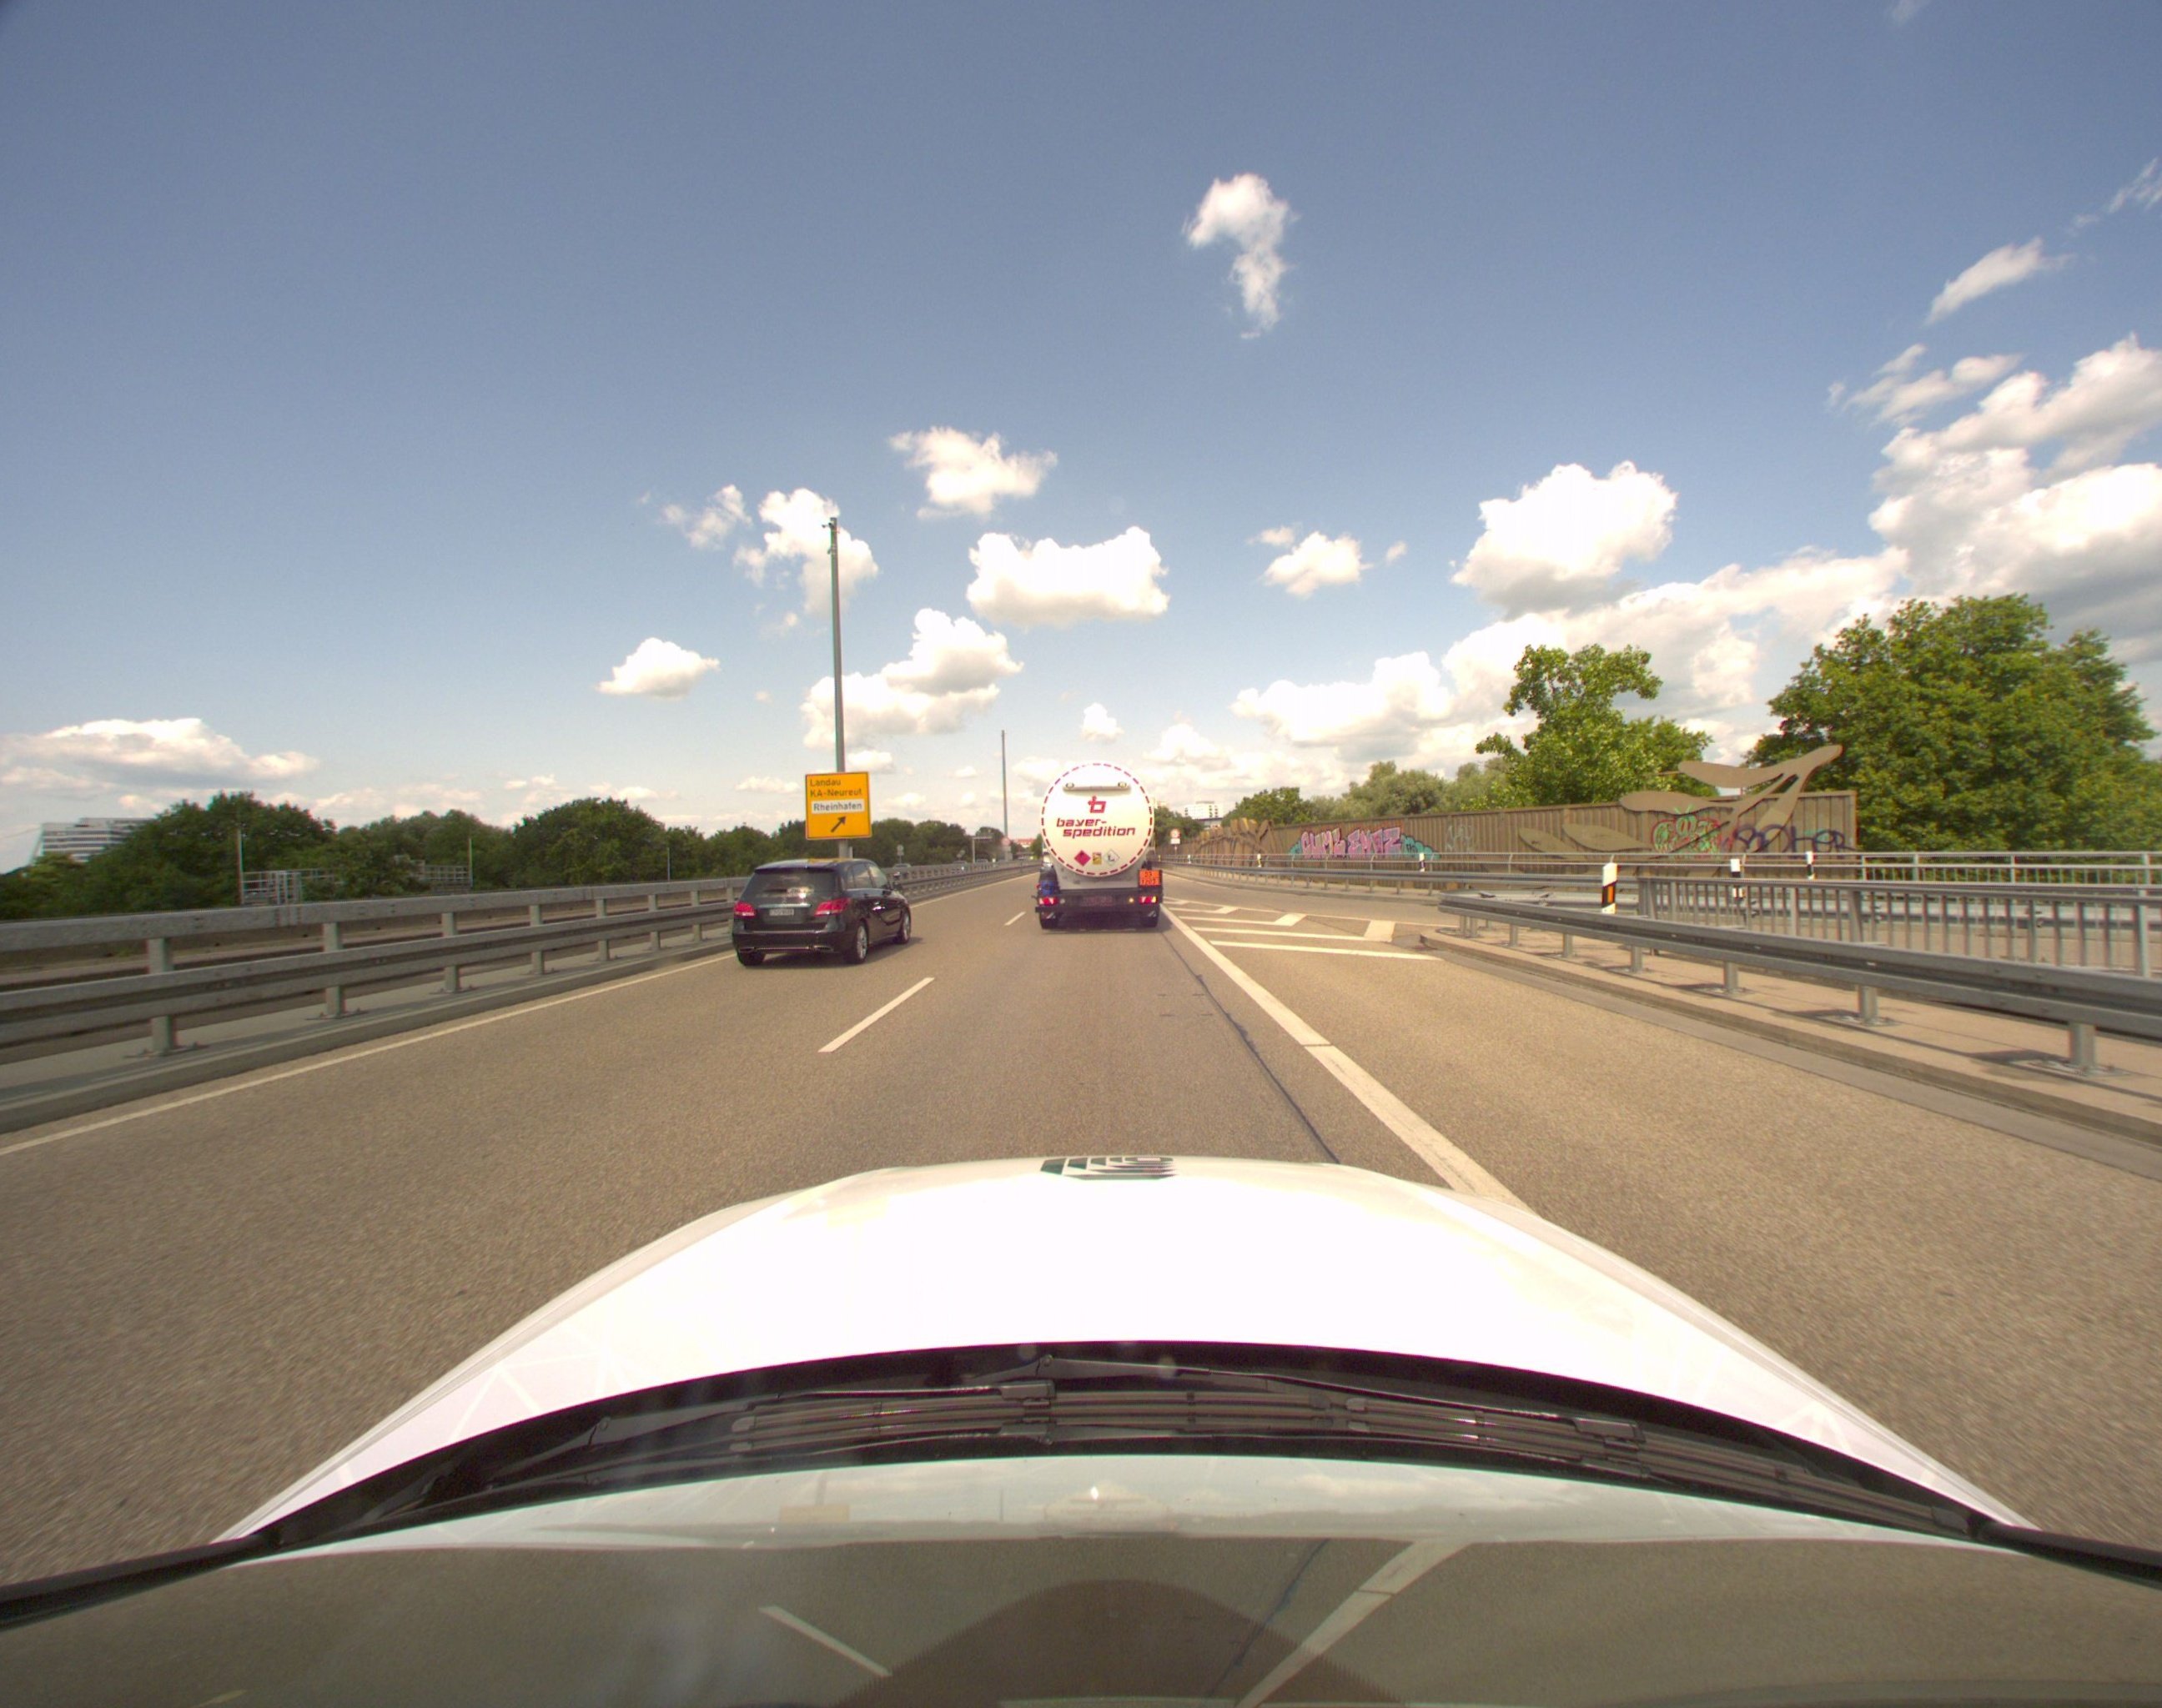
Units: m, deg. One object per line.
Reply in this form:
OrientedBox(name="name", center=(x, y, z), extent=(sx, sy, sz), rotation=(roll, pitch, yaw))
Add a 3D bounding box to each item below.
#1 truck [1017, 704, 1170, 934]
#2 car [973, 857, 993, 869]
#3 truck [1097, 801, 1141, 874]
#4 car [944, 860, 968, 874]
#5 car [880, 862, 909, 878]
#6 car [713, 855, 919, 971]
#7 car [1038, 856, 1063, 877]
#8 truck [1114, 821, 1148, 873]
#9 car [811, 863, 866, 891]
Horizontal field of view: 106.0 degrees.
OrientedBox(name="truck", center=(0.300, -0.668, 19.547), extent=(2.885, 4.368, 8.030), rotation=(0, 0, 1))
OrientedBox(name="car", center=(-12.908, 1.196, 107.417), extent=(1.905, 1.464, 4.521), rotation=(-2, 0, 2))
OrientedBox(name="truck", center=(2.626, -1.111, 58.361), extent=(2.885, 4.808, 8.030), rotation=(0, 0, 1))
OrientedBox(name="car", center=(-13.600, 1.419, 88.875), extent=(1.770, 1.420, 4.624), rotation=(-1, 0, 2))
OrientedBox(name="car", center=(-17.525, 1.458, 76.569), extent=(1.672, 1.401, 4.001), rotation=(-2, 0, 1))
OrientedBox(name="car", center=(-3.987, 0.788, 13.133), extent=(1.705, 1.527, 4.594), rotation=(0, 0, 1))
OrientedBox(name="car", center=(-2.405, 0.956, 65.350), extent=(1.741, 1.531, 4.001), rotation=(-1, 0, 1))
OrientedBox(name="truck", center=(4.801, -0.617, 79.516), extent=(2.885, 4.808, 8.030), rotation=(0, 0, 1))
OrientedBox(name="car", center=(-14.603, 1.352, 49.341), extent=(1.791, 1.596, 4.714), rotation=(0, 0, 2))
